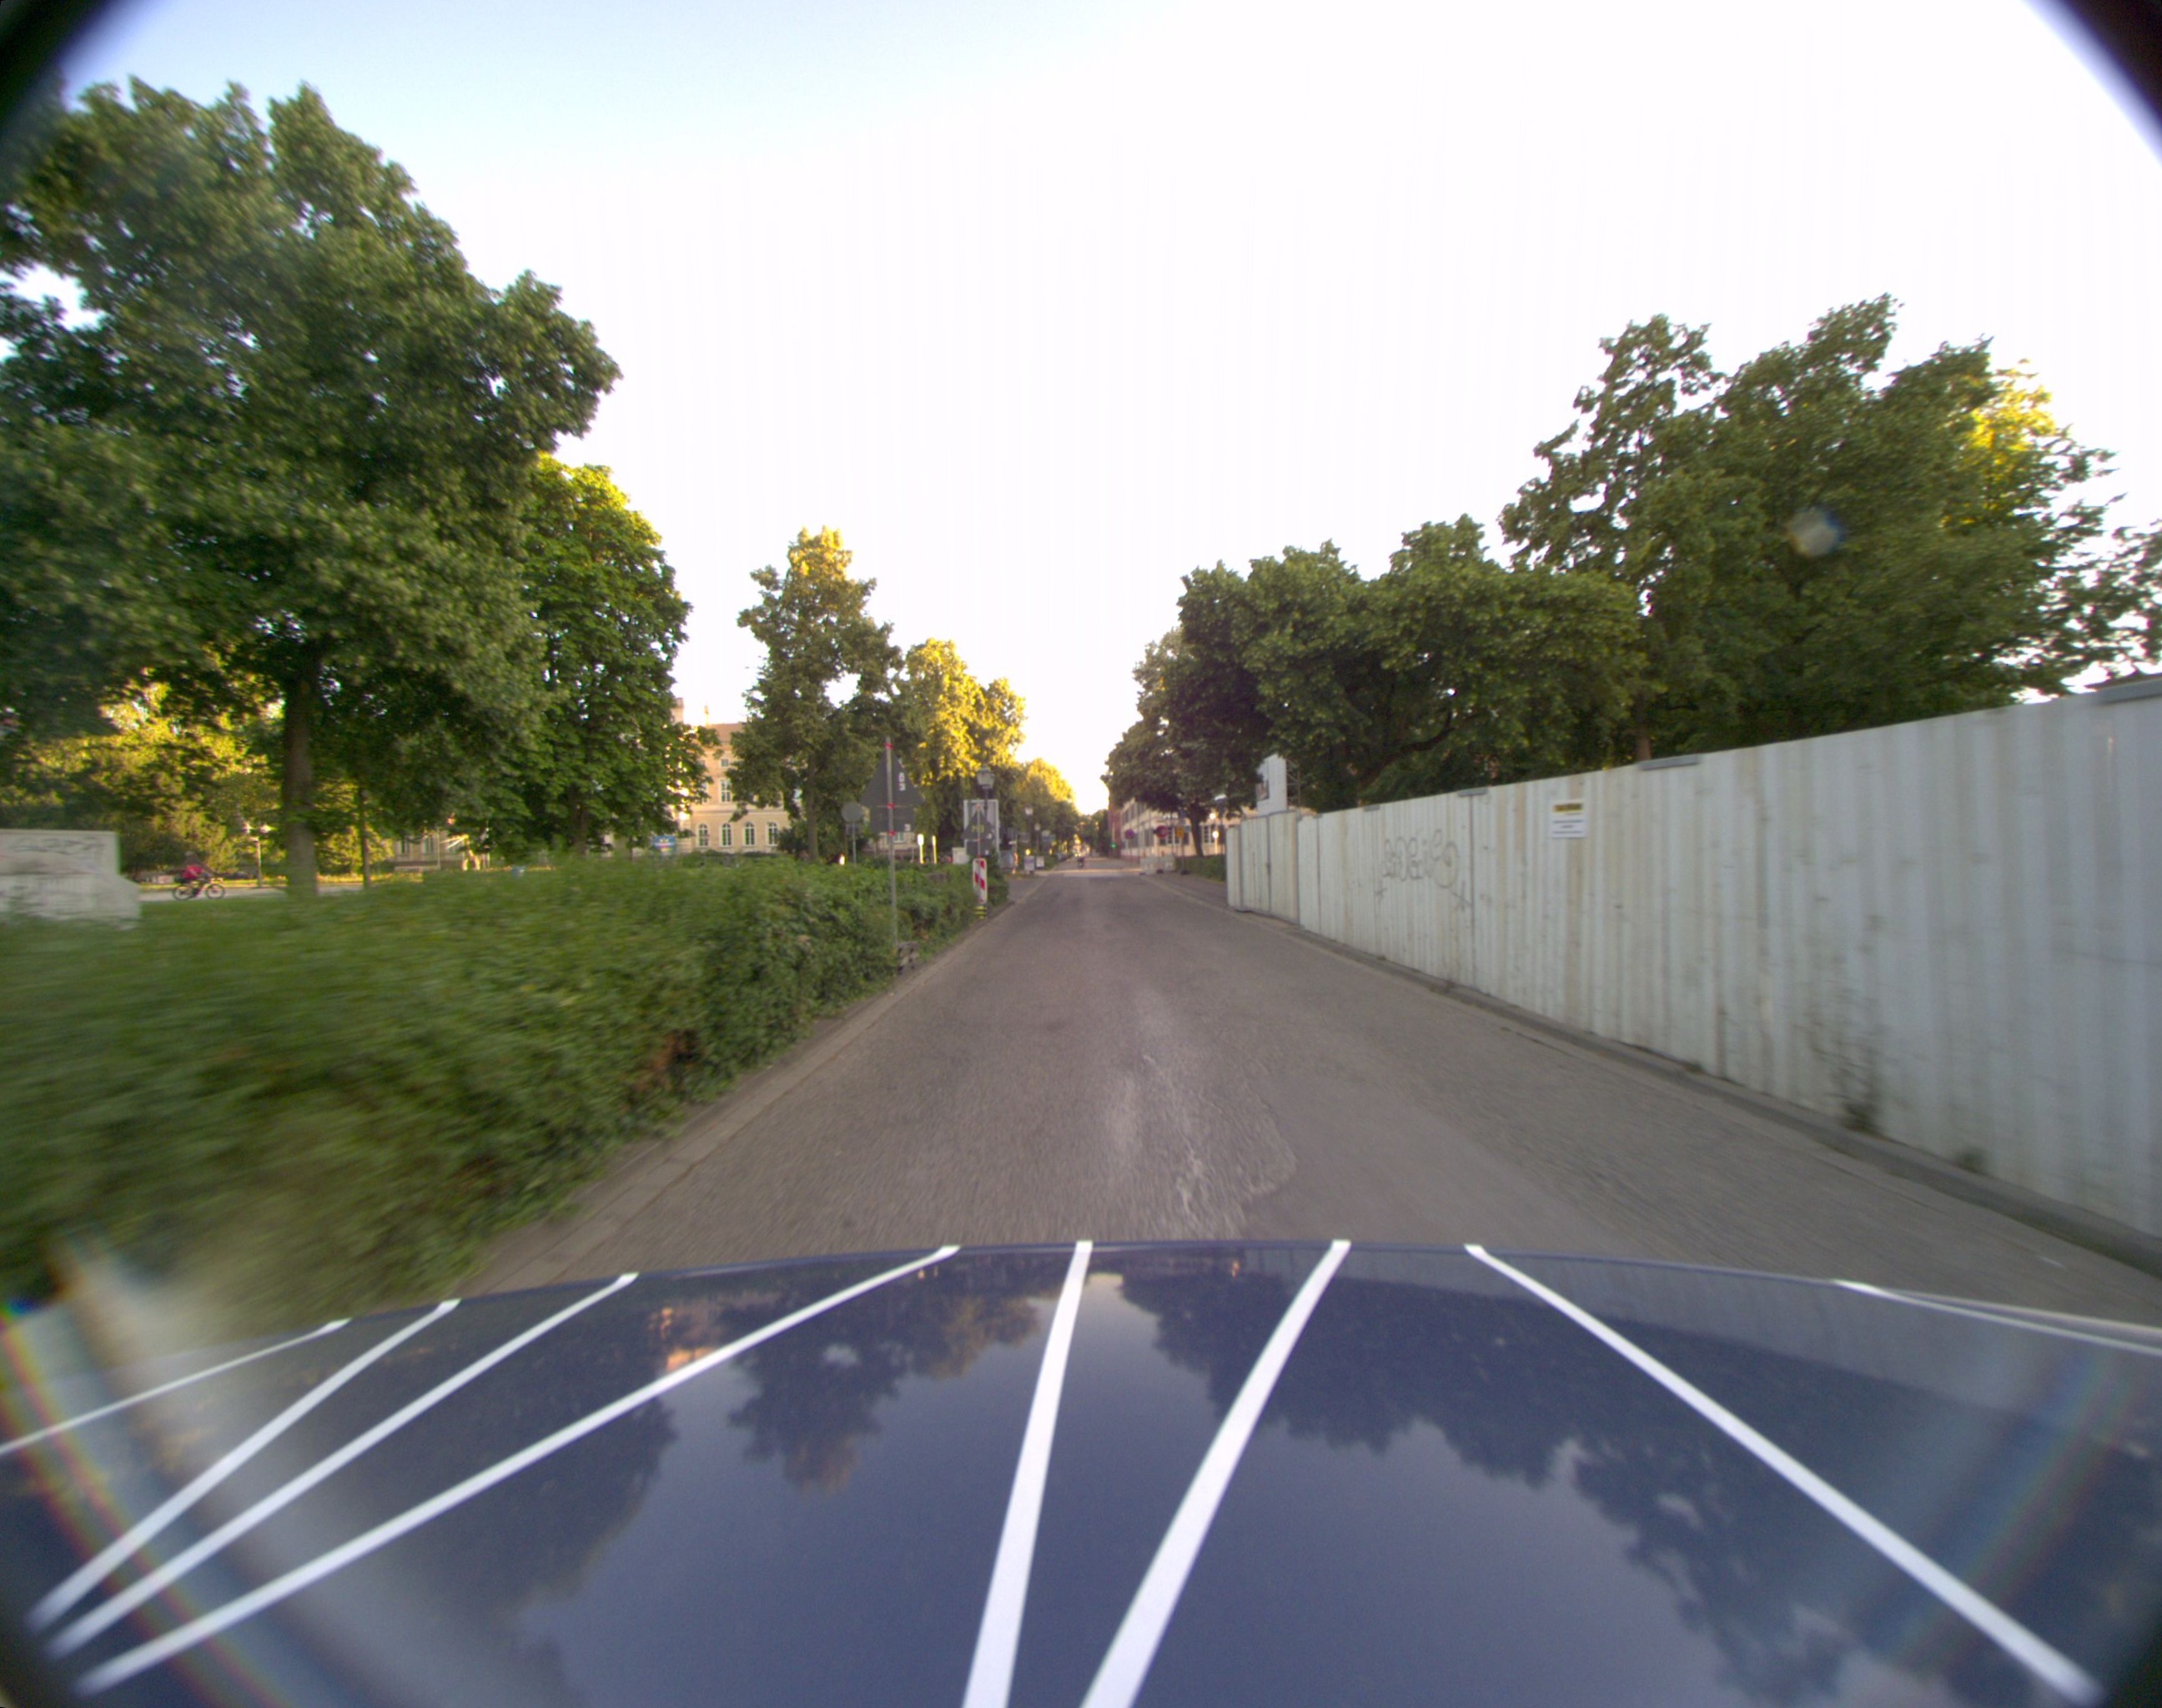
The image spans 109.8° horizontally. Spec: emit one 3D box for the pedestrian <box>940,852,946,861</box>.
[{"bbox_3d":[-15.551,0.299,85.547,0.605,1.044,0.394,-2,1,-33],"label":"pedestrian"}]

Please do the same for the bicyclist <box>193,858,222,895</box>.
[{"bbox_3d":[-39.709,1.006,34.529,0.678,1.623,0.657,-2,1,-34],"label":"bicyclist"}]

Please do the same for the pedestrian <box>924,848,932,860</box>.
[{"bbox_3d":[-18.823,0.015,93.491,0.754,1.435,0.816,-2,1,-34],"label":"pedestrian"}]

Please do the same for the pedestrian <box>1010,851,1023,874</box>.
[{"bbox_3d":[-5.131,0.655,60.769,0.941,1.777,0.762,-1,1,-2],"label":"pedestrian"}]

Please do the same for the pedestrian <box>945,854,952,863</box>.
[{"bbox_3d":[-14.908,0.512,85.317,0.605,1.044,0.394,-2,1,-36],"label":"pedestrian"}]

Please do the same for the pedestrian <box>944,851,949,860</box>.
[{"bbox_3d":[-15.352,0.199,86.544,0.396,1.044,0.602,-2,1,-31],"label":"pedestrian"}]

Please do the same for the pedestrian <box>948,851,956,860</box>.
[{"bbox_3d":[-14.620,0.197,86.209,0.798,1.044,0.394,-2,1,-36],"label":"pedestrian"}]

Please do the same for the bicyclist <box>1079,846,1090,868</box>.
[{"bbox_3d":[0.274,0.260,62.909,0.673,1.793,1.059,-2,1,-11],"label":"bicyclist"}]

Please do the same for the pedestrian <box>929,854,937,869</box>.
[{"bbox_3d":[-12.353,0.644,63.527,0.608,1.197,0.666,-1,1,-6],"label":"pedestrian"}]

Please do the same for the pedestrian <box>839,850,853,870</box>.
[{"bbox_3d":[-19.022,0.495,61.545,0.859,1.617,0.757,-1,1,-4],"label":"pedestrian"}]

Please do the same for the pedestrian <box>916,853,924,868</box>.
[{"bbox_3d":[-13.372,0.561,63.264,0.528,1.197,0.970,-1,1,-6],"label":"pedestrian"}]

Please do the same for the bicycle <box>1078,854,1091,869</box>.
[{"bbox_3d":[0.250,0.631,62.869,0.654,1.175,2.342,-1,1,-10],"label":"bicycle"}]

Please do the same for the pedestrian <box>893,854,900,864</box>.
[{"bbox_3d":[-20.321,0.536,83.528,0.394,1.102,0.605,0,1,45],"label":"pedestrian"}]

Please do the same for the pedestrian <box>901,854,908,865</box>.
[{"bbox_3d":[-19.556,0.623,84.120,0.605,1.195,0.394,-2,1,-41],"label":"pedestrian"}]

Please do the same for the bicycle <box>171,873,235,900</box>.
[{"bbox_3d":[-39.798,1.460,34.471,1.778,1.170,0.564,-1,1,-35],"label":"bicycle"}]
